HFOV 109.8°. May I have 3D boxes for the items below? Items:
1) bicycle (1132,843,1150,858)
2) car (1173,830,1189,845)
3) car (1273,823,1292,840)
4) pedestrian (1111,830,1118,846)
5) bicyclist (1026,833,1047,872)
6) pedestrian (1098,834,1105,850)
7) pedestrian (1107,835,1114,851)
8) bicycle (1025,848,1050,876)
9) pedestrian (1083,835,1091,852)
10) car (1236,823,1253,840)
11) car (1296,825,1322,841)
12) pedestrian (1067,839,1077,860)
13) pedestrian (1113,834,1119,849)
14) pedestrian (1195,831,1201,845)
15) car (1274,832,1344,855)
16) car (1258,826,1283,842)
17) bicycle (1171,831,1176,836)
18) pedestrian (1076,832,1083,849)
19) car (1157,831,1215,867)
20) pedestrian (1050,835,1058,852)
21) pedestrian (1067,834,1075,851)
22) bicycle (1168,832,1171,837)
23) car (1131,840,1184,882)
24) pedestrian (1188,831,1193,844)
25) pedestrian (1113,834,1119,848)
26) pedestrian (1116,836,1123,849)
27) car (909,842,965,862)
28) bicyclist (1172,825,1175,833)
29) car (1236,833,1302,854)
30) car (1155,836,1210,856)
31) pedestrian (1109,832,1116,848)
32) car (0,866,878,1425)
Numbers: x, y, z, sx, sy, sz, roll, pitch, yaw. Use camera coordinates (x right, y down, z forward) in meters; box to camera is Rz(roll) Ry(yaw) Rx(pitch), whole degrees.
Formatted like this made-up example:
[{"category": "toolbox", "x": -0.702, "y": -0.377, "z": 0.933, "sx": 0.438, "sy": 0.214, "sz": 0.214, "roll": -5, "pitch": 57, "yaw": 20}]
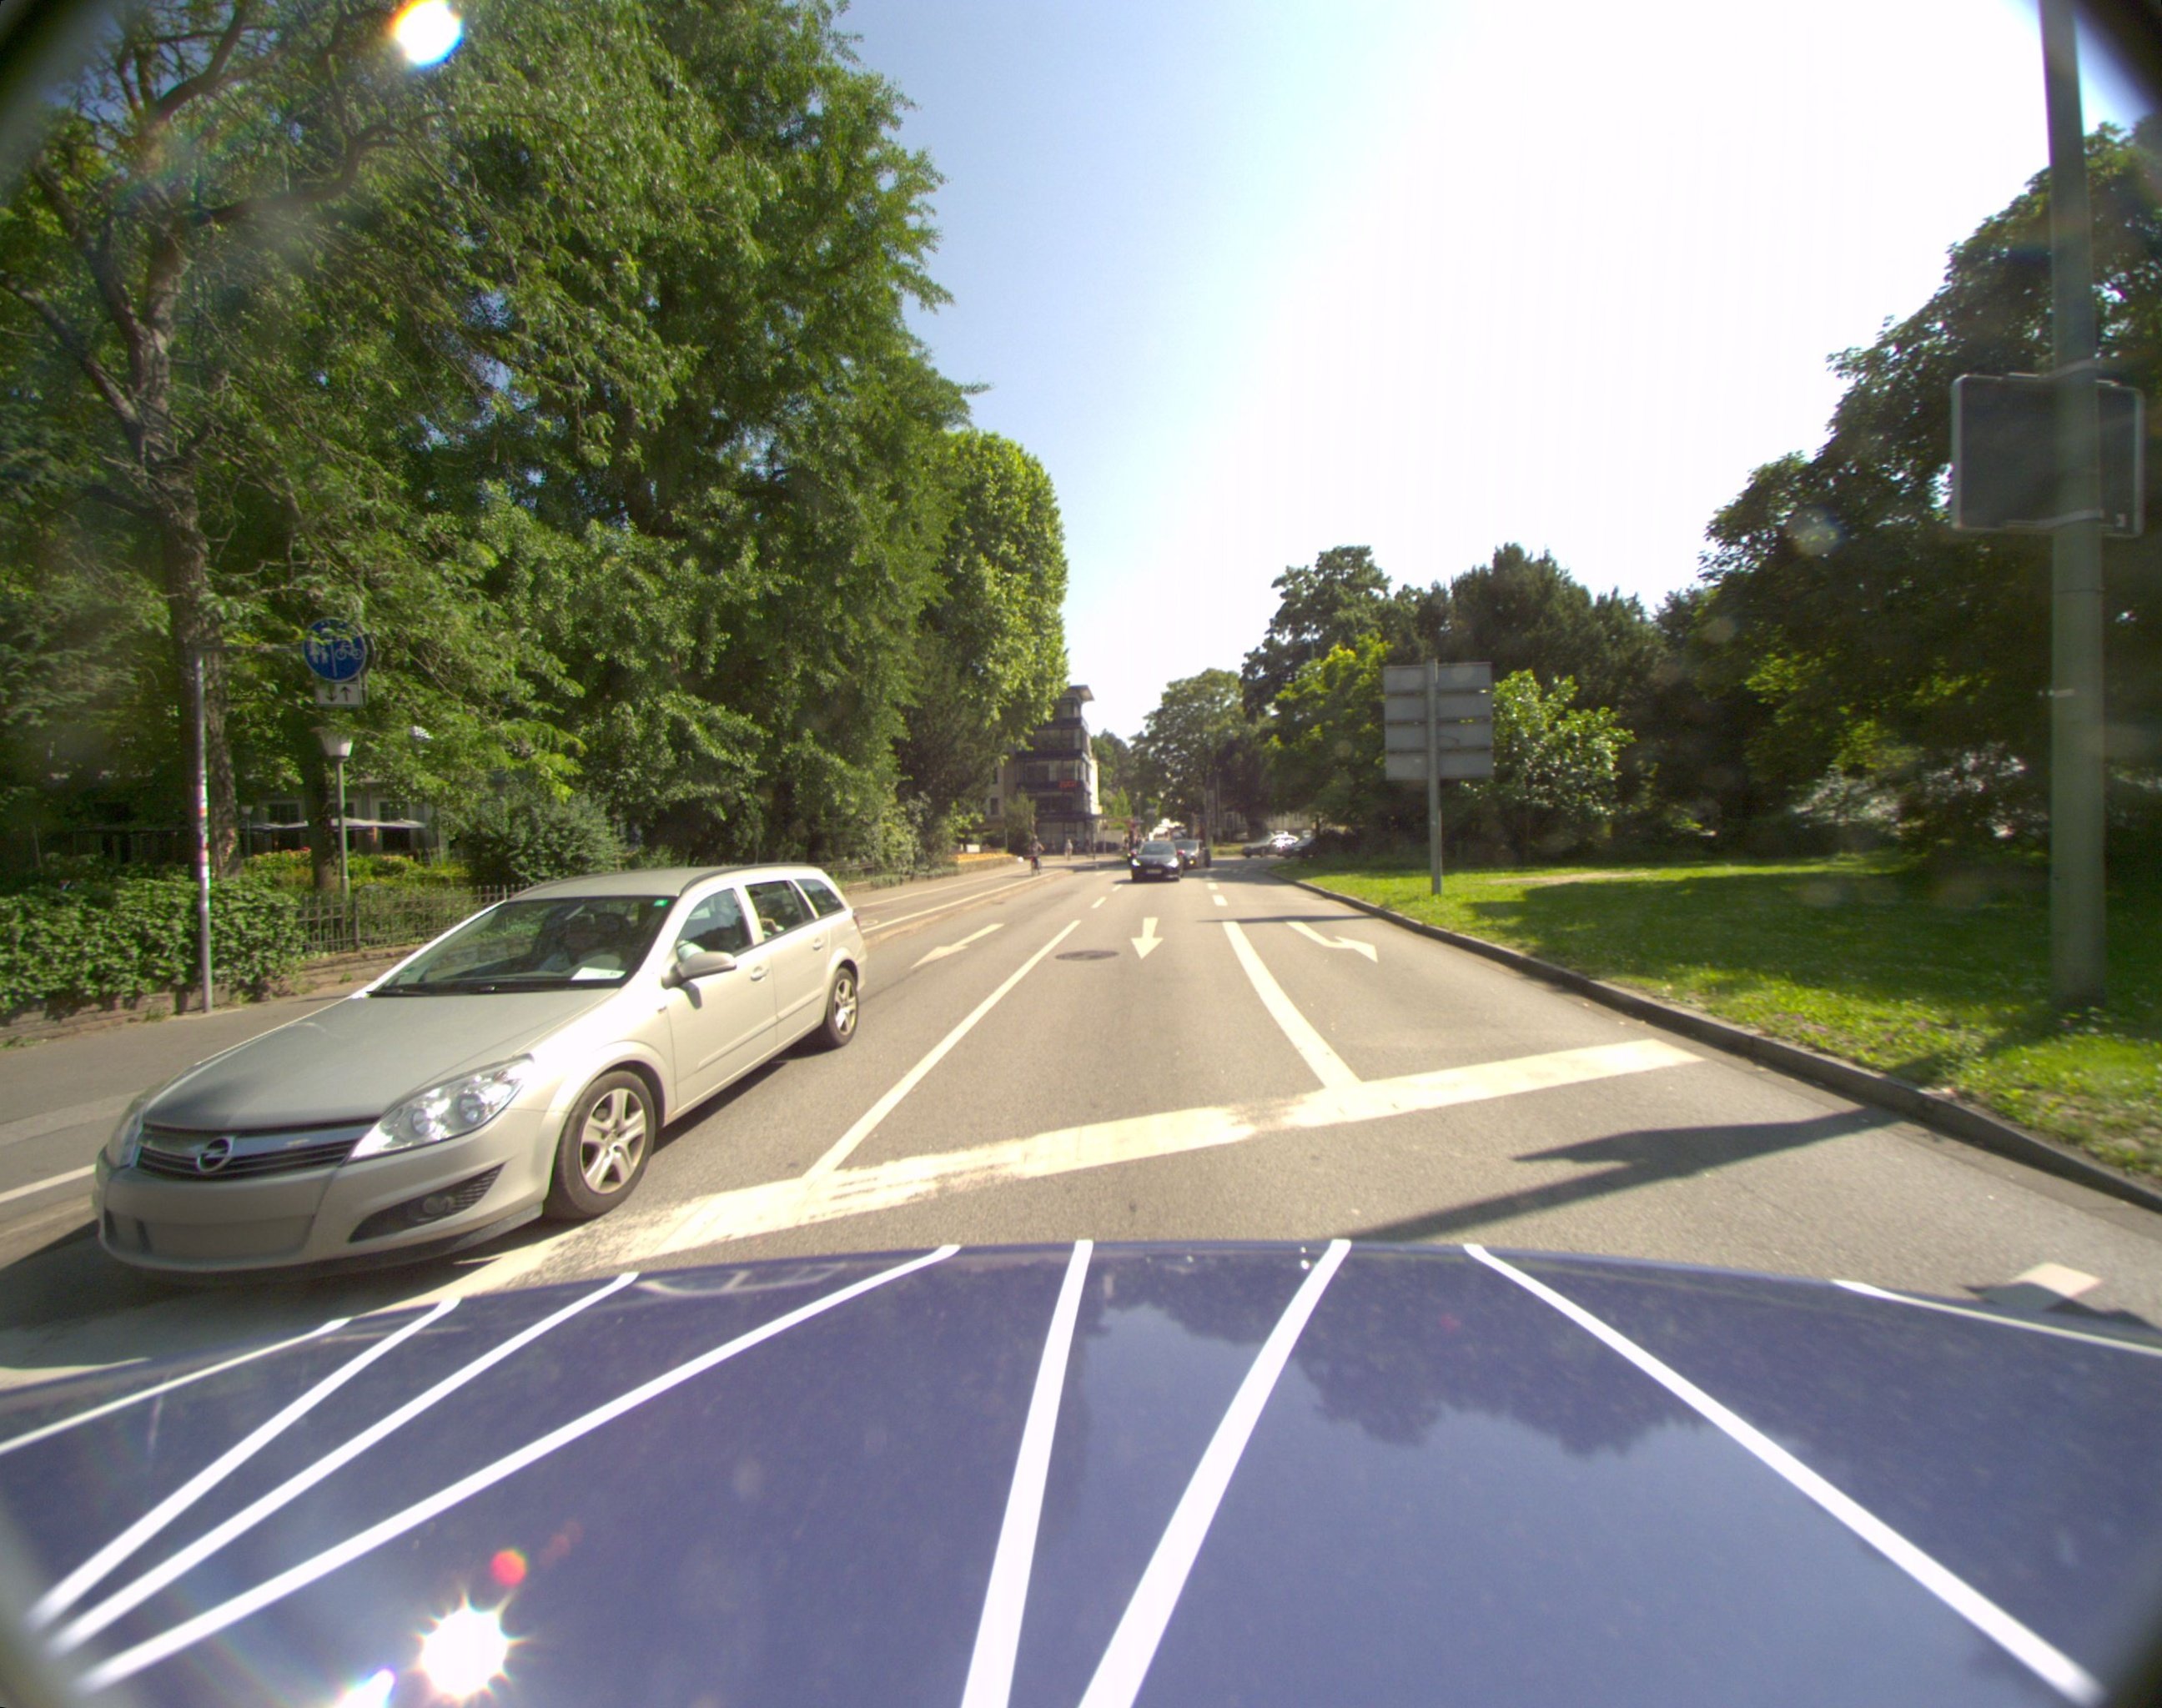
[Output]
[{"category": "bicycle", "x": 4.626, "y": -0.267, "z": 58.500, "sx": 0.709, "sy": 1.048, "sz": 2.210, "roll": -1, "pitch": 2, "yaw": 24}, {"category": "car", "x": 12.518, "y": -2.097, "z": 95.199, "sx": 1.849, "sy": 1.778, "sz": 4.000, "roll": 1, "pitch": 2, "yaw": 6}, {"category": "car", "x": 25.180, "y": -2.837, "z": 95.033, "sx": 1.849, "sy": 2.002, "sz": 4.002, "roll": -1, "pitch": 1, "yaw": 10}, {"category": "pedestrian", "x": 3.583, "y": -1.757, "z": 82.010, "sx": 0.601, "sy": 1.695, "sz": 0.604, "roll": -2, "pitch": 1, "yaw": 12}, {"category": "bicyclist", "x": -1.945, "y": -0.076, "z": 33.048, "sx": 0.766, "sy": 1.627, "sz": 0.943, "roll": -1, "pitch": 2, "yaw": 4}, {"category": "pedestrian", "x": 2.141, "y": -1.294, "z": 80.702, "sx": 0.601, "sy": 1.695, "sz": 0.604, "roll": -2, "pitch": 2, "yaw": 12}, {"category": "pedestrian", "x": 3.189, "y": -1.232, "z": 81.710, "sx": 0.601, "sy": 1.695, "sz": 0.604, "roll": -2, "pitch": 2, "yaw": 12}, {"category": "bicycle", "x": -1.868, "y": 0.333, "z": 32.861, "sx": 0.759, "sy": 1.114, "sz": 2.002, "roll": -1, "pitch": 2, "yaw": 5}, {"category": "pedestrian", "x": 0.609, "y": -1.044, "z": 77.425, "sx": 0.701, "sy": 1.695, "sz": 0.603, "roll": -2, "pitch": 2, "yaw": 7}, {"category": "car", "x": 20.257, "y": -2.723, "z": 94.092, "sx": 1.849, "sy": 2.002, "sz": 4.002, "roll": -1, "pitch": 1, "yaw": 10}, {"category": "car", "x": 24.948, "y": -2.272, "z": 83.227, "sx": 1.850, "sy": 1.652, "sz": 4.000, "roll": -2, "pitch": 1, "yaw": 3}, {"category": "pedestrian", "x": -0.710, "y": -0.383, "z": 61.338, "sx": 0.710, "sy": 1.663, "sz": 0.534, "roll": -2, "pitch": 2, "yaw": 3}, {"category": "pedestrian", "x": 4.027, "y": -1.465, "z": 88.301, "sx": 0.602, "sy": 1.695, "sz": 0.604, "roll": -2, "pitch": 2, "yaw": 7}, {"category": "pedestrian", "x": 14.221, "y": -1.915, "z": 92.315, "sx": 0.602, "sy": 1.695, "sz": 0.604, "roll": -2, "pitch": 2, "yaw": 5}, {"category": "car", "x": 15.667, "y": -0.722, "z": 52.148, "sx": 4.556, "sy": 1.421, "sz": 1.938, "roll": -2, "pitch": 1, "yaw": -29}, {"category": "car", "x": 20.901, "y": -2.229, "z": 83.966, "sx": 1.850, "sy": 1.652, "sz": 4.000, "roll": -2, "pitch": 1, "yaw": 3}, {"category": "bicycle", "x": 21.948, "y": -4.835, "z": 180.239, "sx": 0.566, "sy": 1.155, "sz": 1.901, "roll": -1, "pitch": 2, "yaw": 20}, {"category": "pedestrian", "x": -0.159, "y": -1.389, "z": 78.605, "sx": 0.603, "sy": 1.695, "sz": 0.690, "roll": -1, "pitch": 1, "yaw": 5}, {"category": "car", "x": 5.393, "y": -0.294, "z": 38.554, "sx": 1.886, "sy": 1.675, "sz": 4.147, "roll": 1, "pitch": 3, "yaw": 23}, {"category": "pedestrian", "x": -2.766, "y": -1.039, "z": 77.559, "sx": 0.689, "sy": 1.695, "sz": 0.602, "roll": -2, "pitch": 2, "yaw": 5}, {"category": "pedestrian", "x": -1.037, "y": -1.122, "z": 77.213, "sx": 0.653, "sy": 1.695, "sz": 0.646, "roll": -2, "pitch": 2, "yaw": 4}, {"category": "bicycle", "x": 19.288, "y": -4.294, "z": 165.254, "sx": 0.566, "sy": 1.155, "sz": 1.900, "roll": -1, "pitch": 1, "yaw": 11}, {"category": "car", "x": 2.938, "y": 0.221, "z": 28.572, "sx": 1.809, "sy": 1.443, "sz": 3.956, "roll": -1, "pitch": 1, "yaw": 8}, {"category": "pedestrian", "x": 14.859, "y": -2.282, "z": 103.014, "sx": 0.602, "sy": 1.695, "sz": 0.604, "roll": -2, "pitch": 2, "yaw": 7}, {"category": "pedestrian", "x": 4.175, "y": -1.560, "z": 90.138, "sx": 0.602, "sy": 1.695, "sz": 0.604, "roll": -1, "pitch": 2, "yaw": 7}, {"category": "pedestrian", "x": 4.815, "y": -1.428, "z": 95.202, "sx": 0.601, "sy": 1.588, "sz": 0.605, "roll": -1, "pitch": 2, "yaw": 21}, {"category": "car", "x": -12.206, "y": -0.192, "z": 64.561, "sx": 4.415, "sy": 1.545, "sz": 1.684, "roll": -2, "pitch": 1, "yaw": 1}, {"category": "bicyclist", "x": 21.918, "y": -5.908, "z": 180.166, "sx": 0.573, "sy": 2.002, "sz": 0.908, "roll": -1, "pitch": 2, "yaw": 20}, {"category": "car", "x": 13.785, "y": -0.800, "z": 55.533, "sx": 4.556, "sy": 1.421, "sz": 1.938, "roll": -2, "pitch": 1, "yaw": -29}, {"category": "car", "x": 8.582, "y": -0.705, "z": 64.375, "sx": 4.415, "sy": 1.545, "sz": 1.684, "roll": -2, "pitch": 1, "yaw": 1}, {"category": "pedestrian", "x": 3.319, "y": -1.533, "z": 80.854, "sx": 0.601, "sy": 1.695, "sz": 0.604, "roll": -2, "pitch": 2, "yaw": 12}, {"category": "car", "x": -2.817, "y": 0.920, "z": 4.472, "sx": 1.711, "sy": 1.513, "sz": 4.407, "roll": -2, "pitch": 1, "yaw": 4}]
